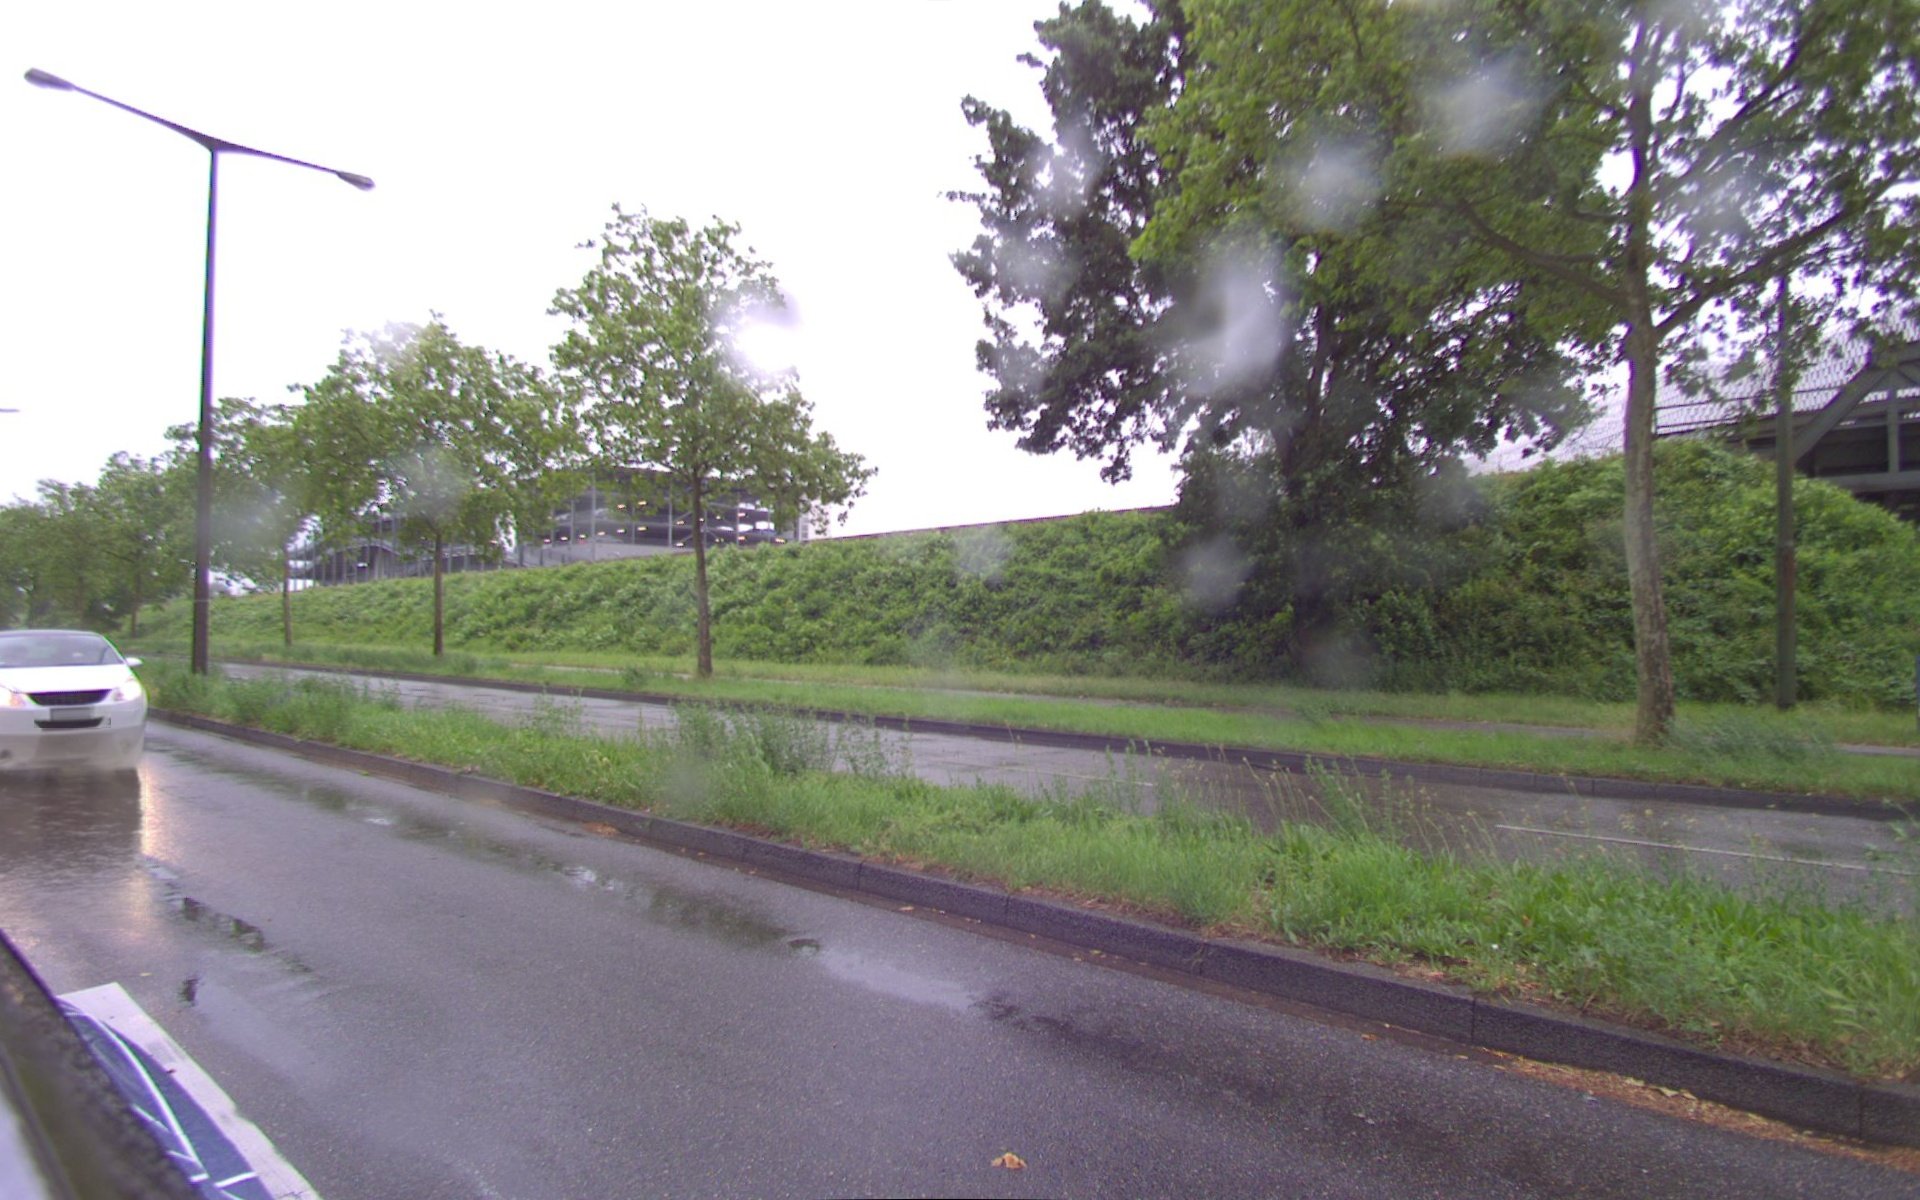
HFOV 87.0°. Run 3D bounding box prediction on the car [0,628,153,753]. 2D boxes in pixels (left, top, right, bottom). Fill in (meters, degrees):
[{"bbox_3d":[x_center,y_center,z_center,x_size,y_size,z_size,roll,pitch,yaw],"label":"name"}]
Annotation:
[{"bbox_3d":[-12.104,1.090,13.279,4.008,1.387,1.661,-2,-1,41],"label":"car"}]
